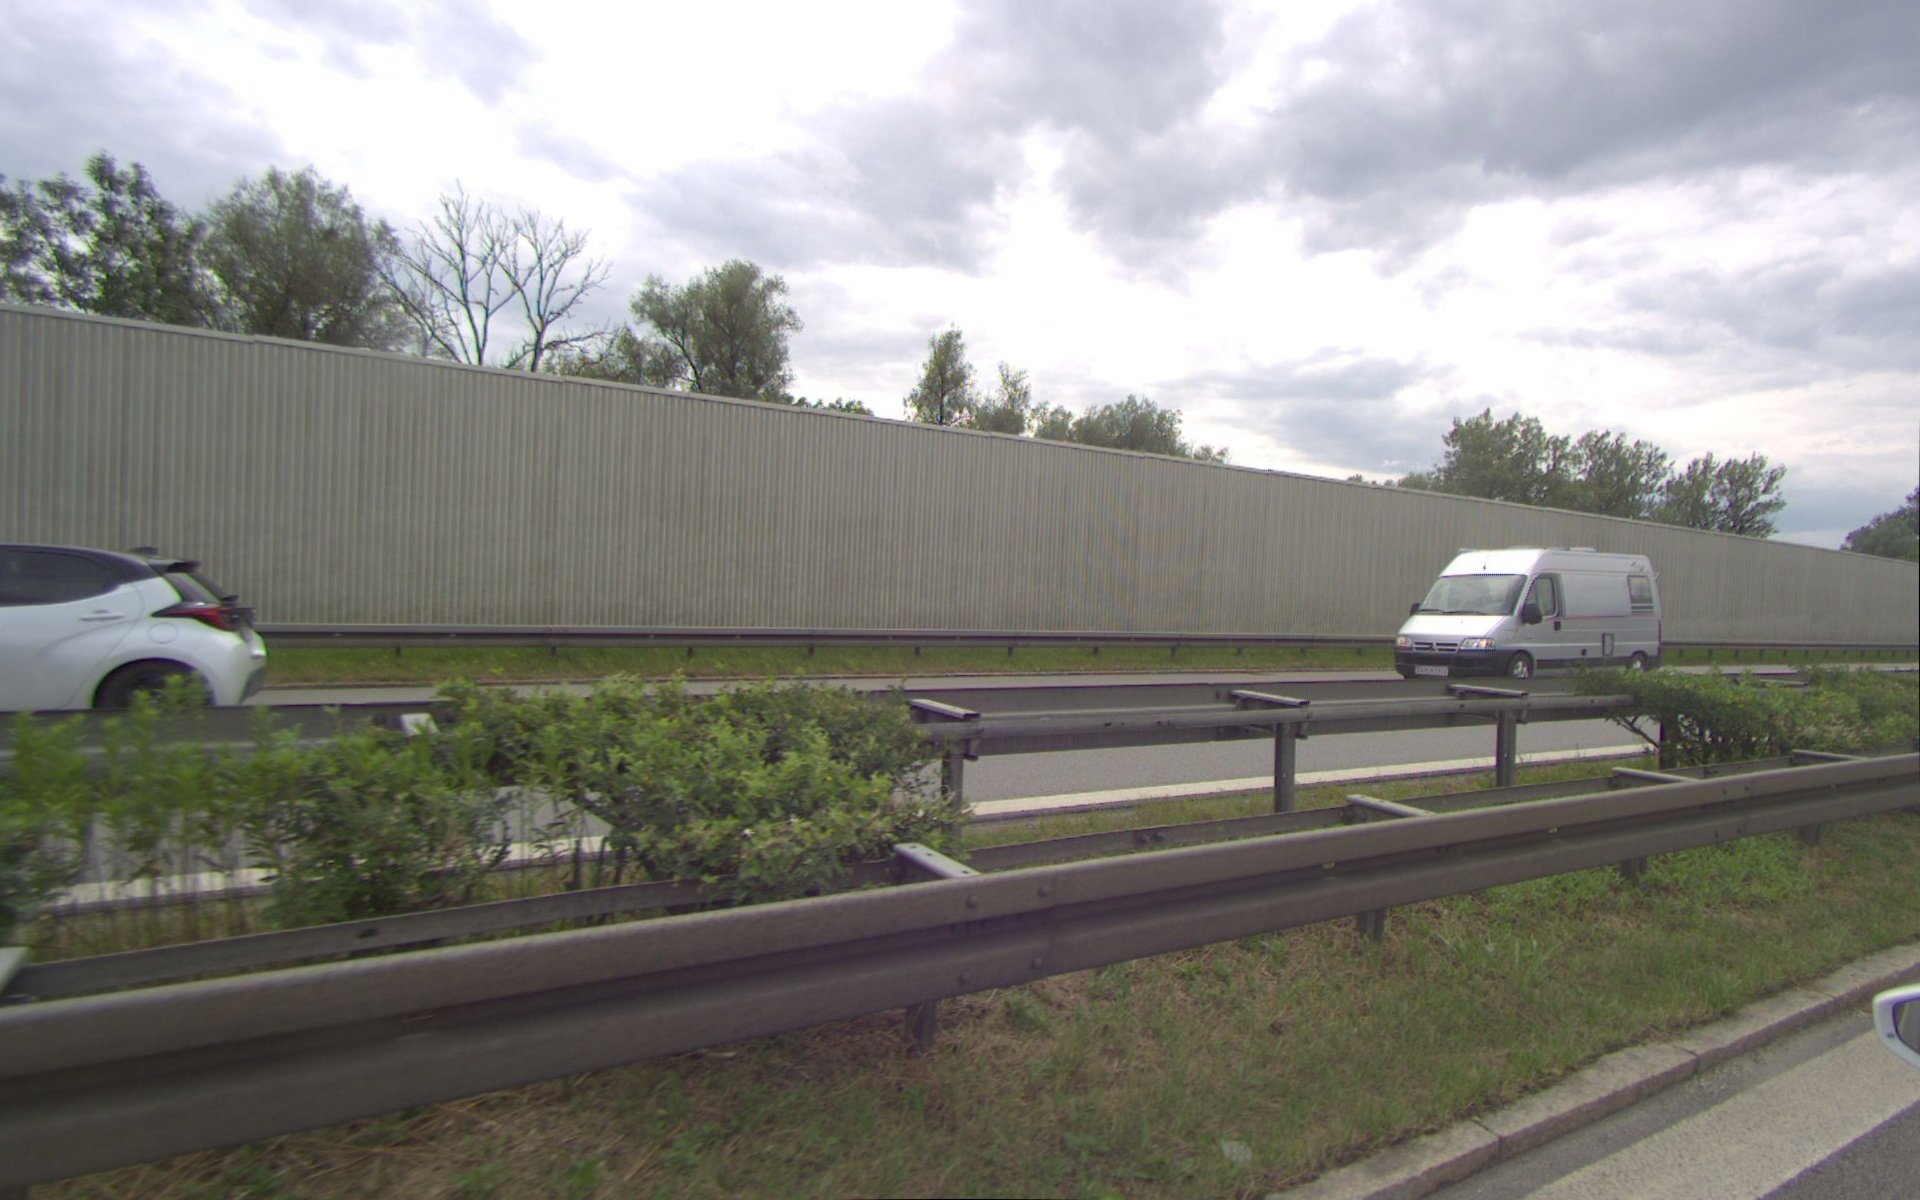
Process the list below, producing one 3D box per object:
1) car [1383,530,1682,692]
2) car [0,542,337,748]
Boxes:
[{"bbox_3d":[10.237,0.238,17.819,5.617,2.488,2.101,1,-1,-30],"label":"car"},{"bbox_3d":[-7.365,0.307,7.564,4.447,1.421,1.855,2,-1,-30],"label":"car"}]
